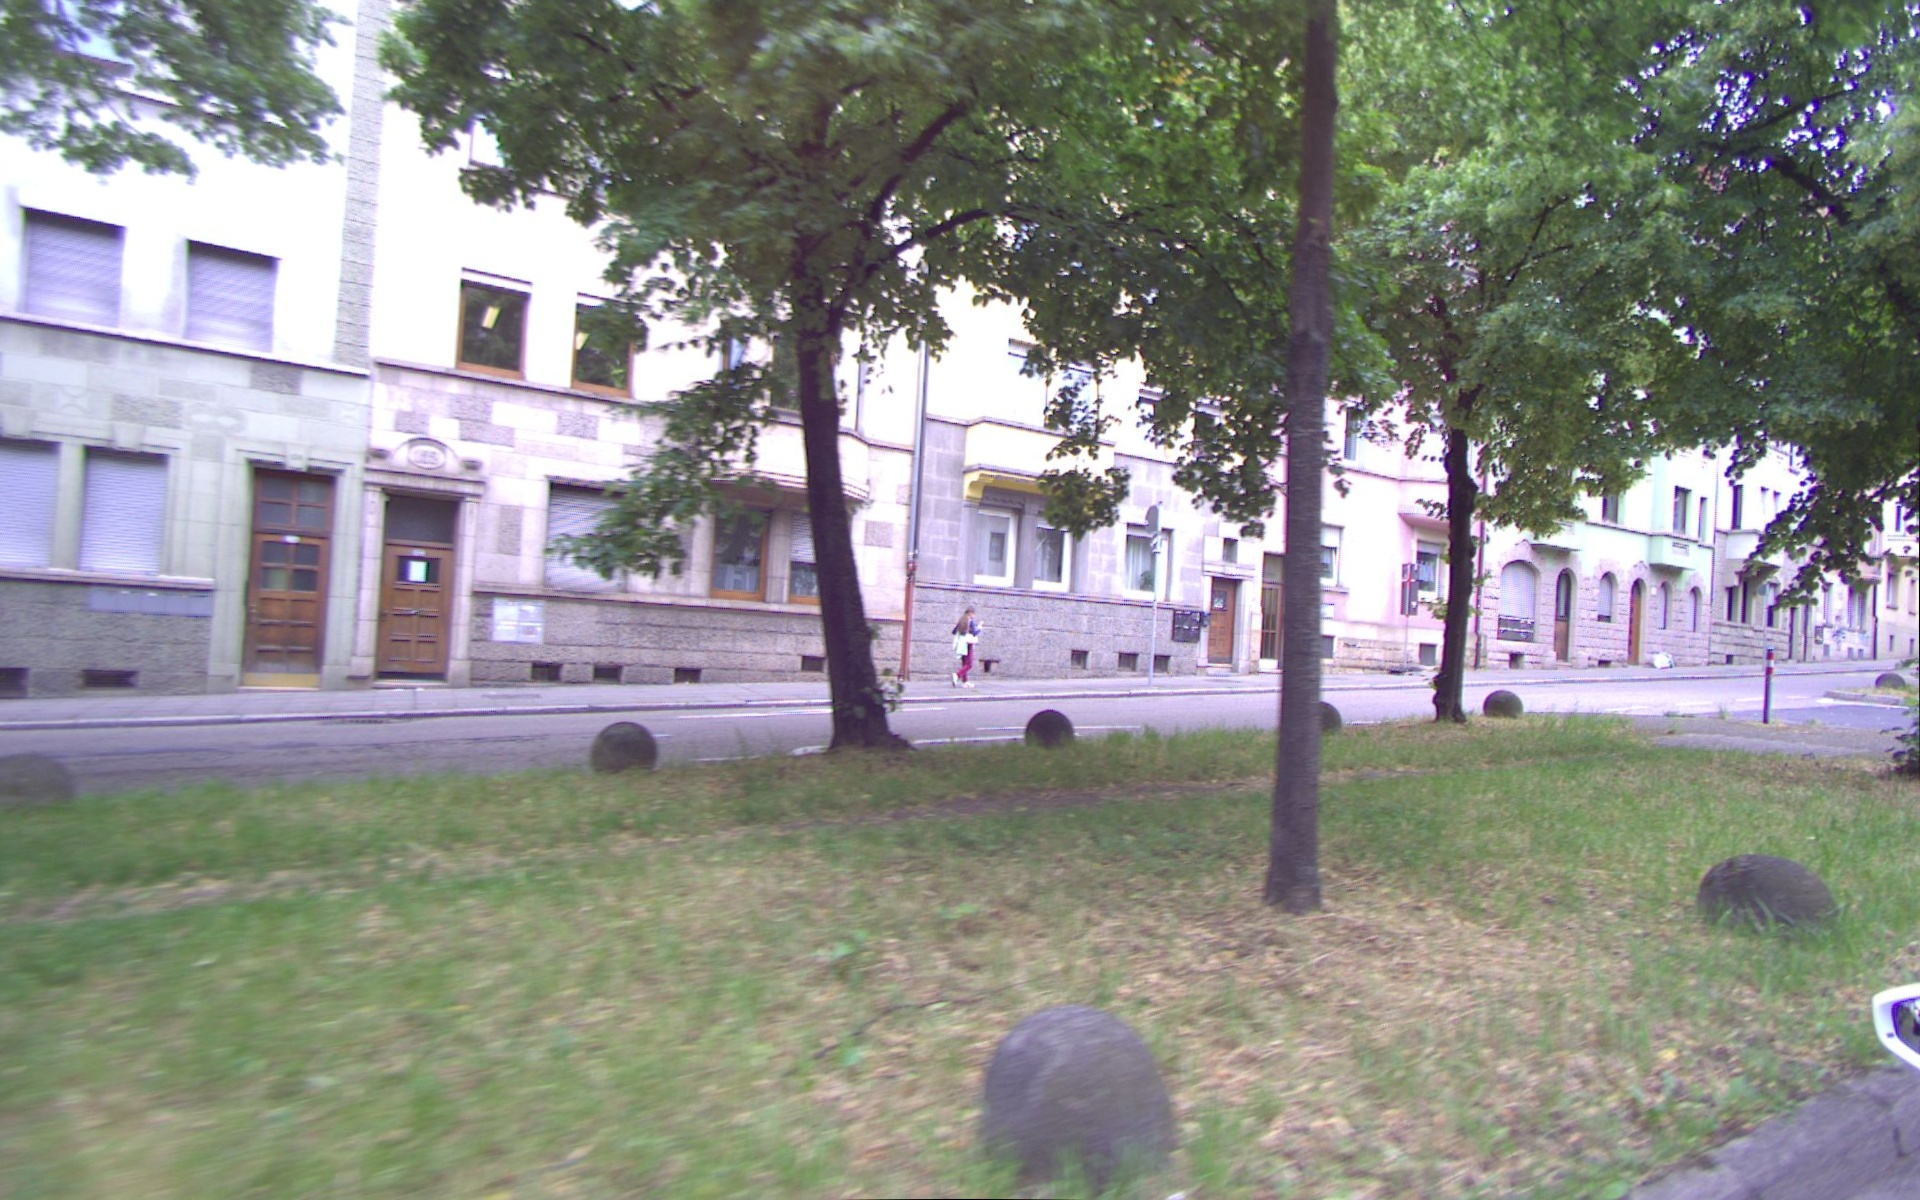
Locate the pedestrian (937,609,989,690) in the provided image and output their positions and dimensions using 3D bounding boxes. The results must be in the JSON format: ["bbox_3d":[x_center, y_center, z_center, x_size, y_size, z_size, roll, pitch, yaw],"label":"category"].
[{"bbox_3d":[0.054,0.916,19.043,0.695,1.480,0.695,1,1,-29],"label":"pedestrian"}]
